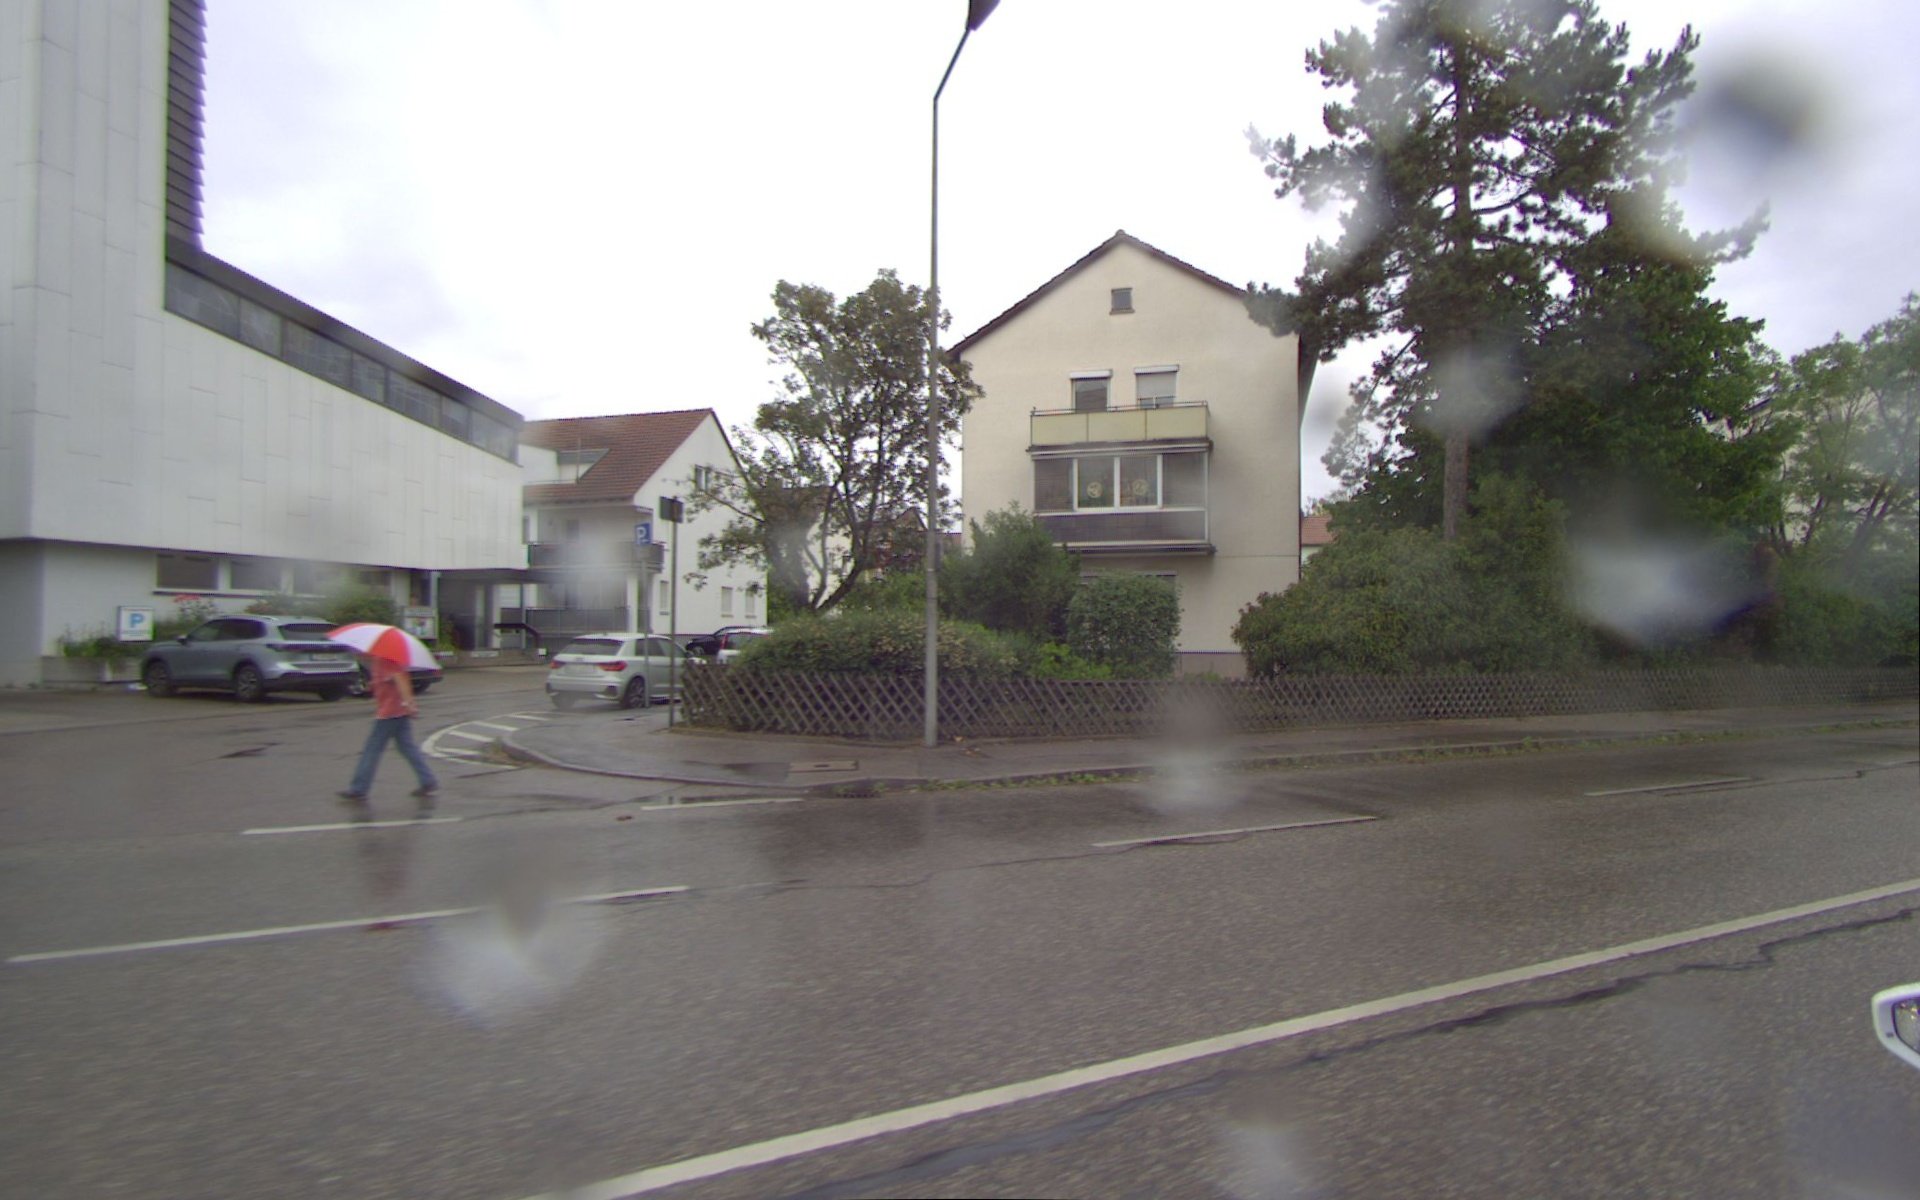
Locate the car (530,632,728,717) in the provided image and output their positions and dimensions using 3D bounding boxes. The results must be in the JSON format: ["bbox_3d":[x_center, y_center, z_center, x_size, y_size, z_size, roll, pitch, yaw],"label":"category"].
[{"bbox_3d":[-6.400,1.377,19.904,1.751,1.466,4.004,0,-1,16],"label":"car"}]

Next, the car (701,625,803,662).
[{"bbox_3d":[-8.597,1.785,41.653,3.746,1.466,1.787,0,-1,19],"label":"car"}]

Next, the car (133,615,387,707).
[{"bbox_3d":[-13.826,1.136,19.876,4.302,1.636,2.132,0,-1,22],"label":"car"}]

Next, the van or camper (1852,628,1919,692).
[{"bbox_3d":[31.603,1.926,32.755,1.961,1.950,5.217,-1,-1,21],"label":"van or camper"}]

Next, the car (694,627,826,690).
[{"bbox_3d":[-5.017,1.441,25.730,1.751,1.466,3.824,0,-1,16],"label":"car"}]

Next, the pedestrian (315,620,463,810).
[{"bbox_3d":[-5.290,1.017,9.299,1.092,1.628,0.864,2,-2,-34],"label":"pedestrian"}]

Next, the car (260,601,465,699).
[{"bbox_3d":[-13.430,1.085,22.617,3.922,2.040,2.000,-1,-2,22],"label":"car"}]
